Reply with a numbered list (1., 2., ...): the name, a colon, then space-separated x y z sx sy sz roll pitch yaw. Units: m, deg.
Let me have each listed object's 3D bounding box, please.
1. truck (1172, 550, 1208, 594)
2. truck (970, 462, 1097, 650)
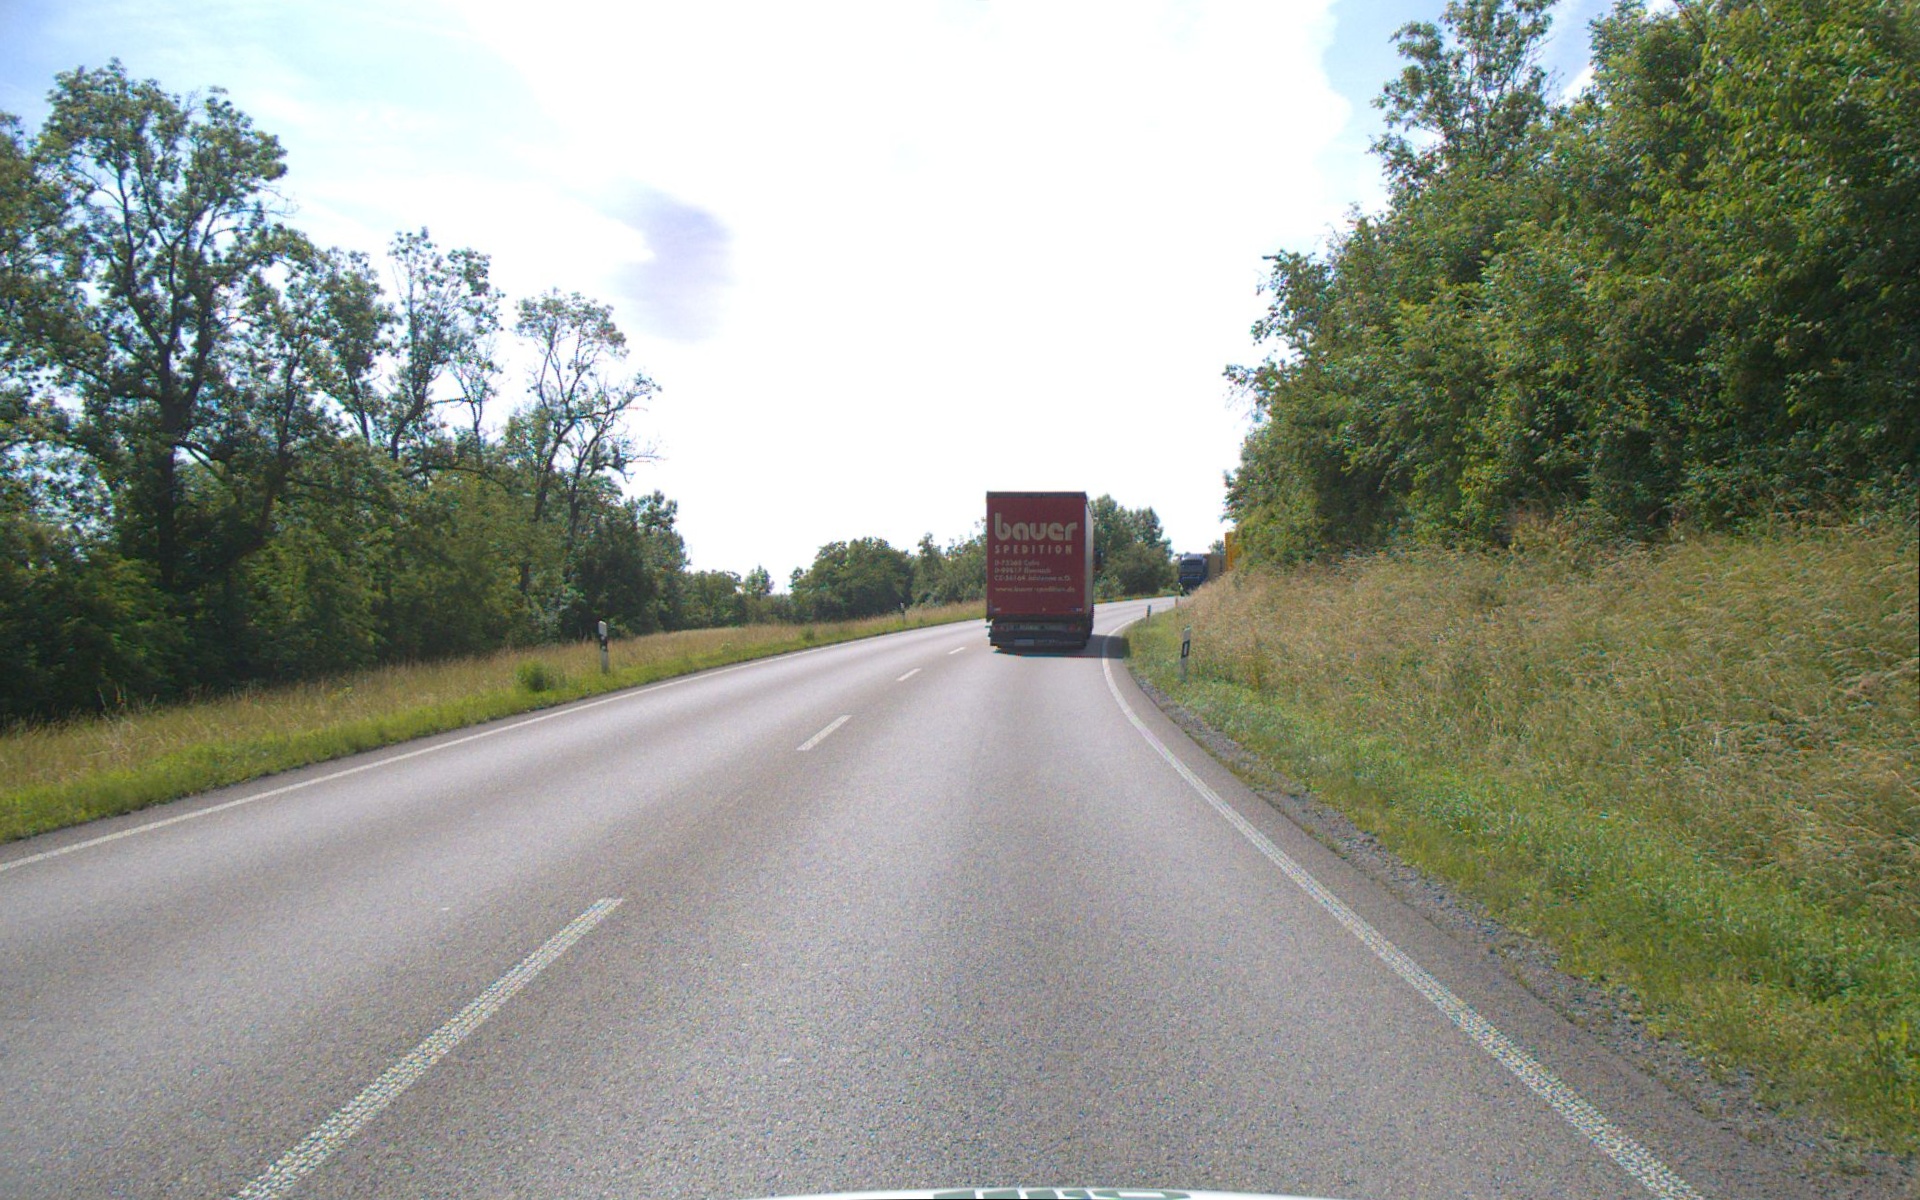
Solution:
1. truck: 22.441 -2.758 161.191 2.747 4.138 5.990 -1 1 14
2. truck: 2.269 -1.156 46.856 3.047 4.584 12.175 1 1 4
